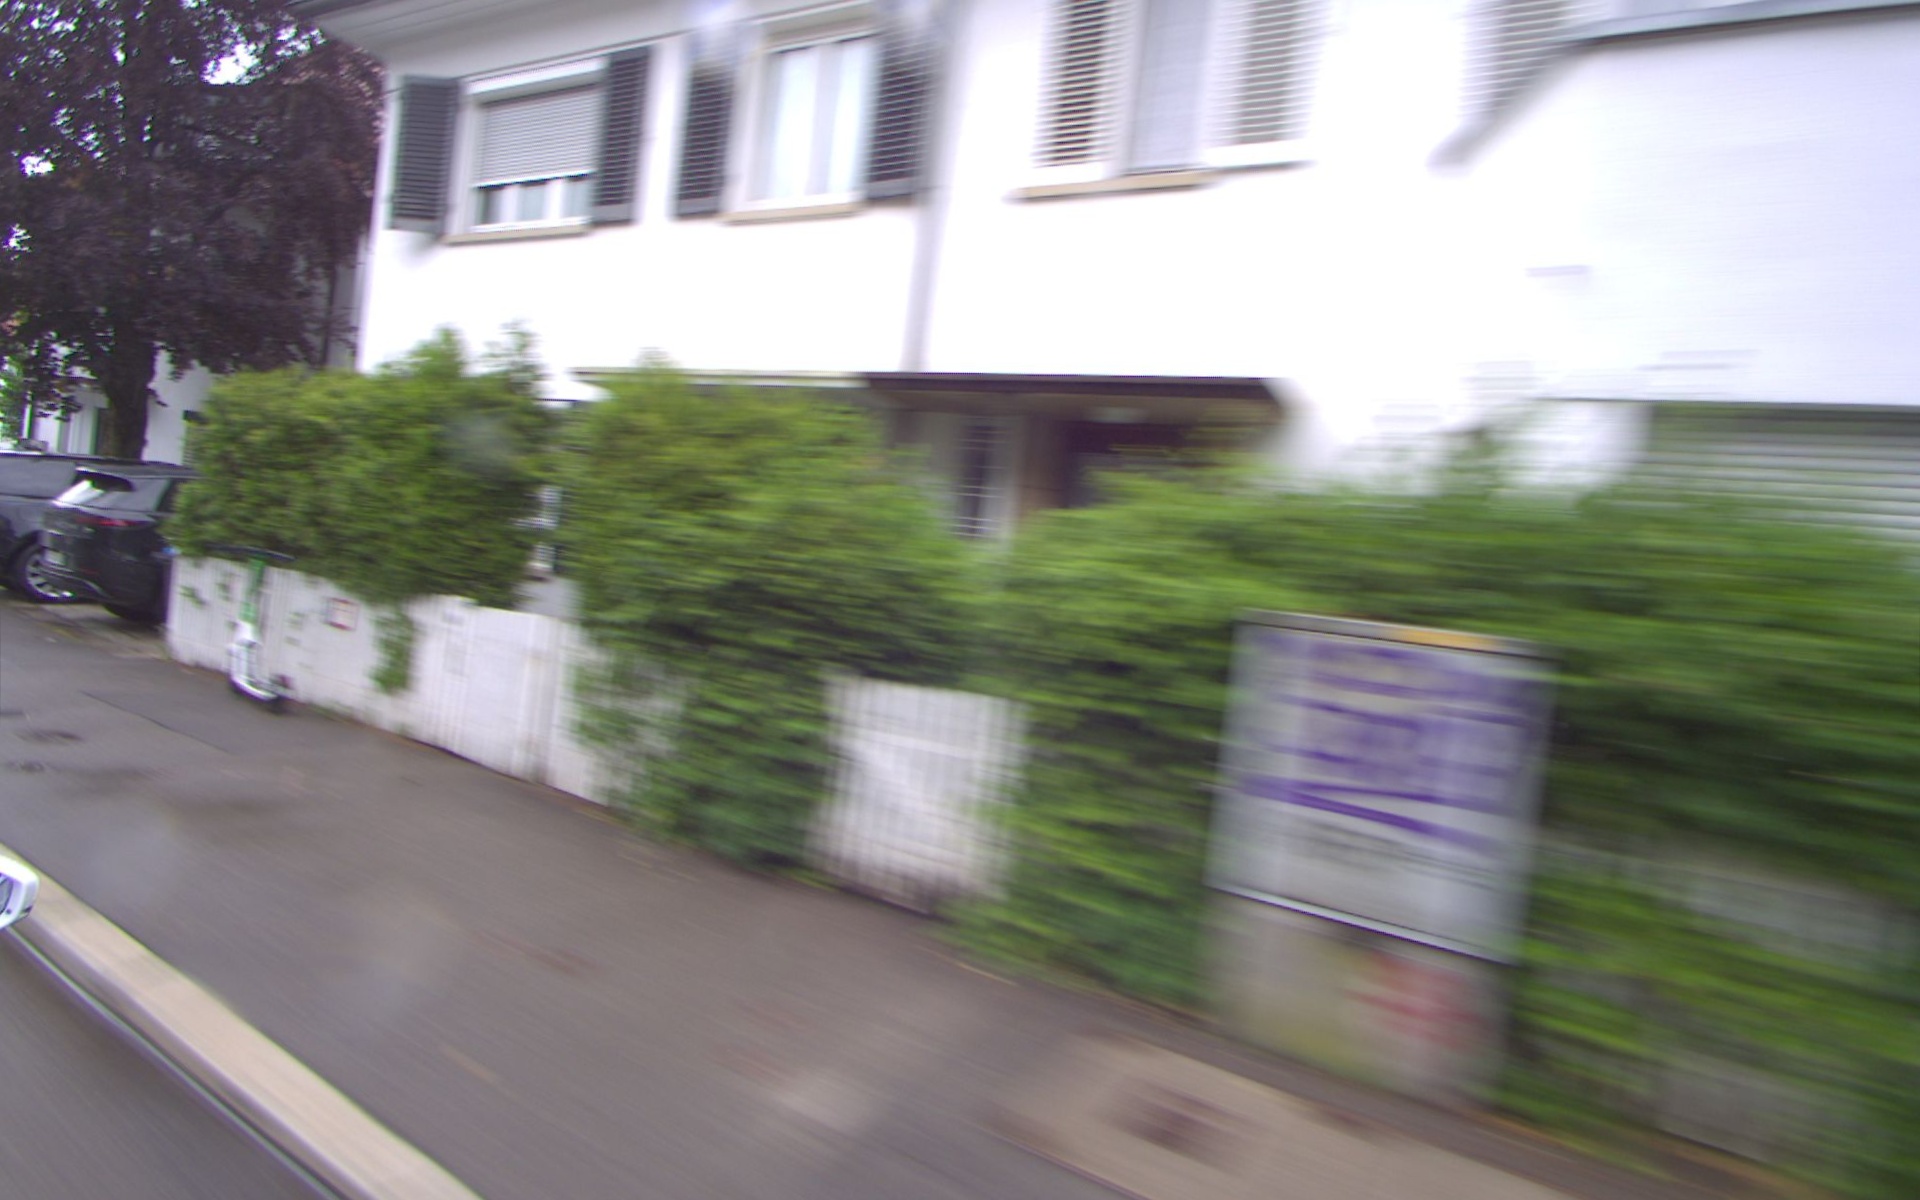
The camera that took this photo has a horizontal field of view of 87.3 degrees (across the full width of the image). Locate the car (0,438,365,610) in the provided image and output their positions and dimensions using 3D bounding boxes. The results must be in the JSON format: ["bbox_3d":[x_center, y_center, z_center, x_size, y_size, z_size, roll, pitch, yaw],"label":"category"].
[{"bbox_3d":[-11.111,-0.981,13.756,1.967,1.899,4.663,8,2,32],"label":"car"}]

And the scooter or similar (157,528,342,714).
[{"bbox_3d":[-5.514,0.132,7.763,1.837,1.214,0.456,6,-1,35],"label":"scooter or similar"}]

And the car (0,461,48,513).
[{"bbox_3d":[-36.338,-4.429,37.322,3.988,1.628,1.814,10,0,17],"label":"car"}]

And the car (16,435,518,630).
[{"bbox_3d":[-8.246,-0.694,12.468,1.967,1.836,4.663,8,2,32],"label":"car"}]
